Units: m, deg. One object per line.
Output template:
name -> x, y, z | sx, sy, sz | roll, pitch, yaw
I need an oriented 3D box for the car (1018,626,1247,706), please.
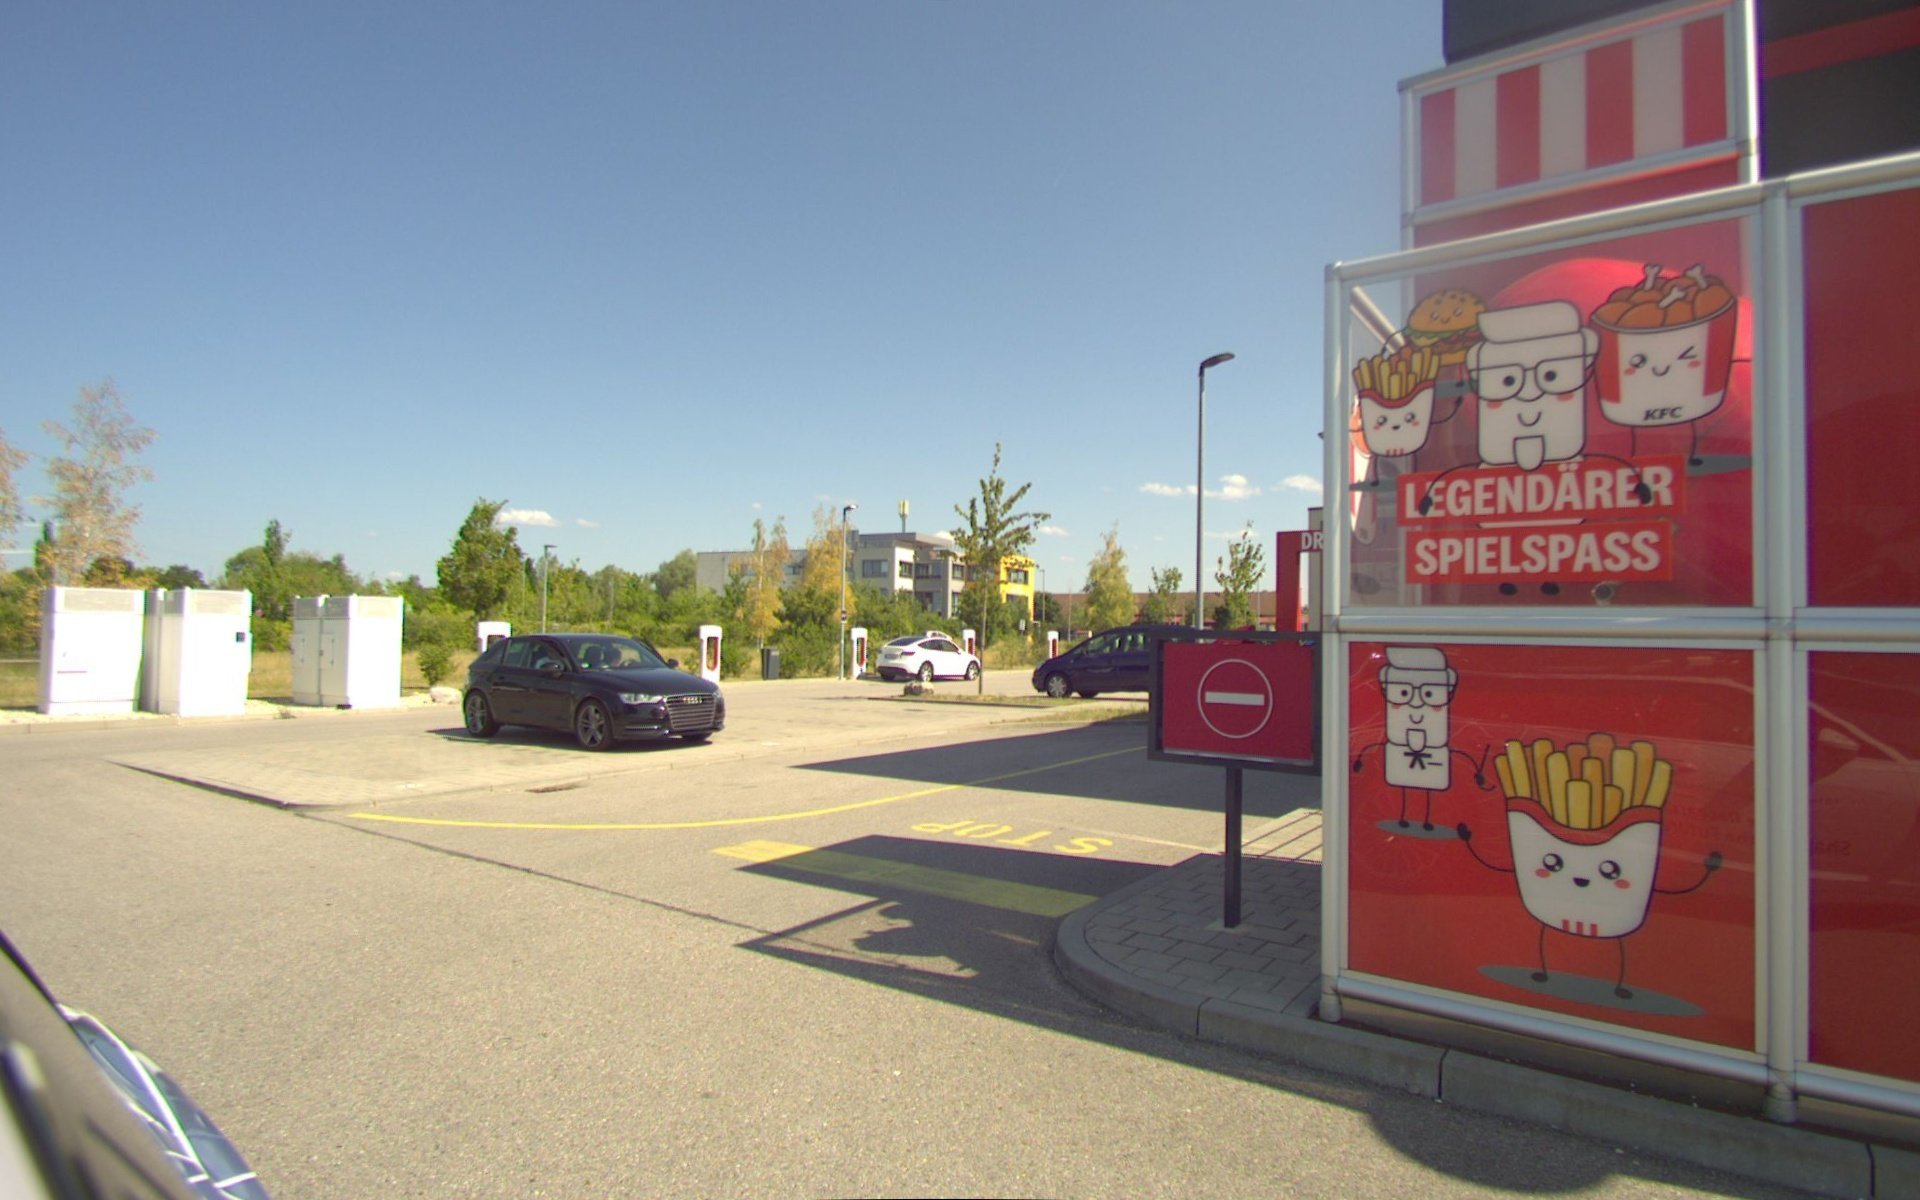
car -> 3.712, 1.386, 22.119 | 4.538, 1.581, 1.977 | -2, -3, 34

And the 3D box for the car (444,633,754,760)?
car -> -4.868, 1.155, 13.420 | 4.305, 1.422, 1.709 | -1, -3, 35

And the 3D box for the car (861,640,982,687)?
car -> -1.339, 2.284, 36.971 | 2.214, 1.538, 4.379 | 0, -2, 36

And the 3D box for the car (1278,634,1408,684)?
car -> 13.470, 2.031, 35.663 | 3.990, 1.621, 1.768 | -1, -2, 35

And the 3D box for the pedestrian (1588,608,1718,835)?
pedestrian -> 4.803, 0.797, 7.044 | 0.692, 1.454, 0.789 | -1, -2, 34

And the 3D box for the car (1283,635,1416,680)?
car -> 14.724, 2.132, 38.383 | 4.436, 1.621, 1.768 | -1, -2, 35
